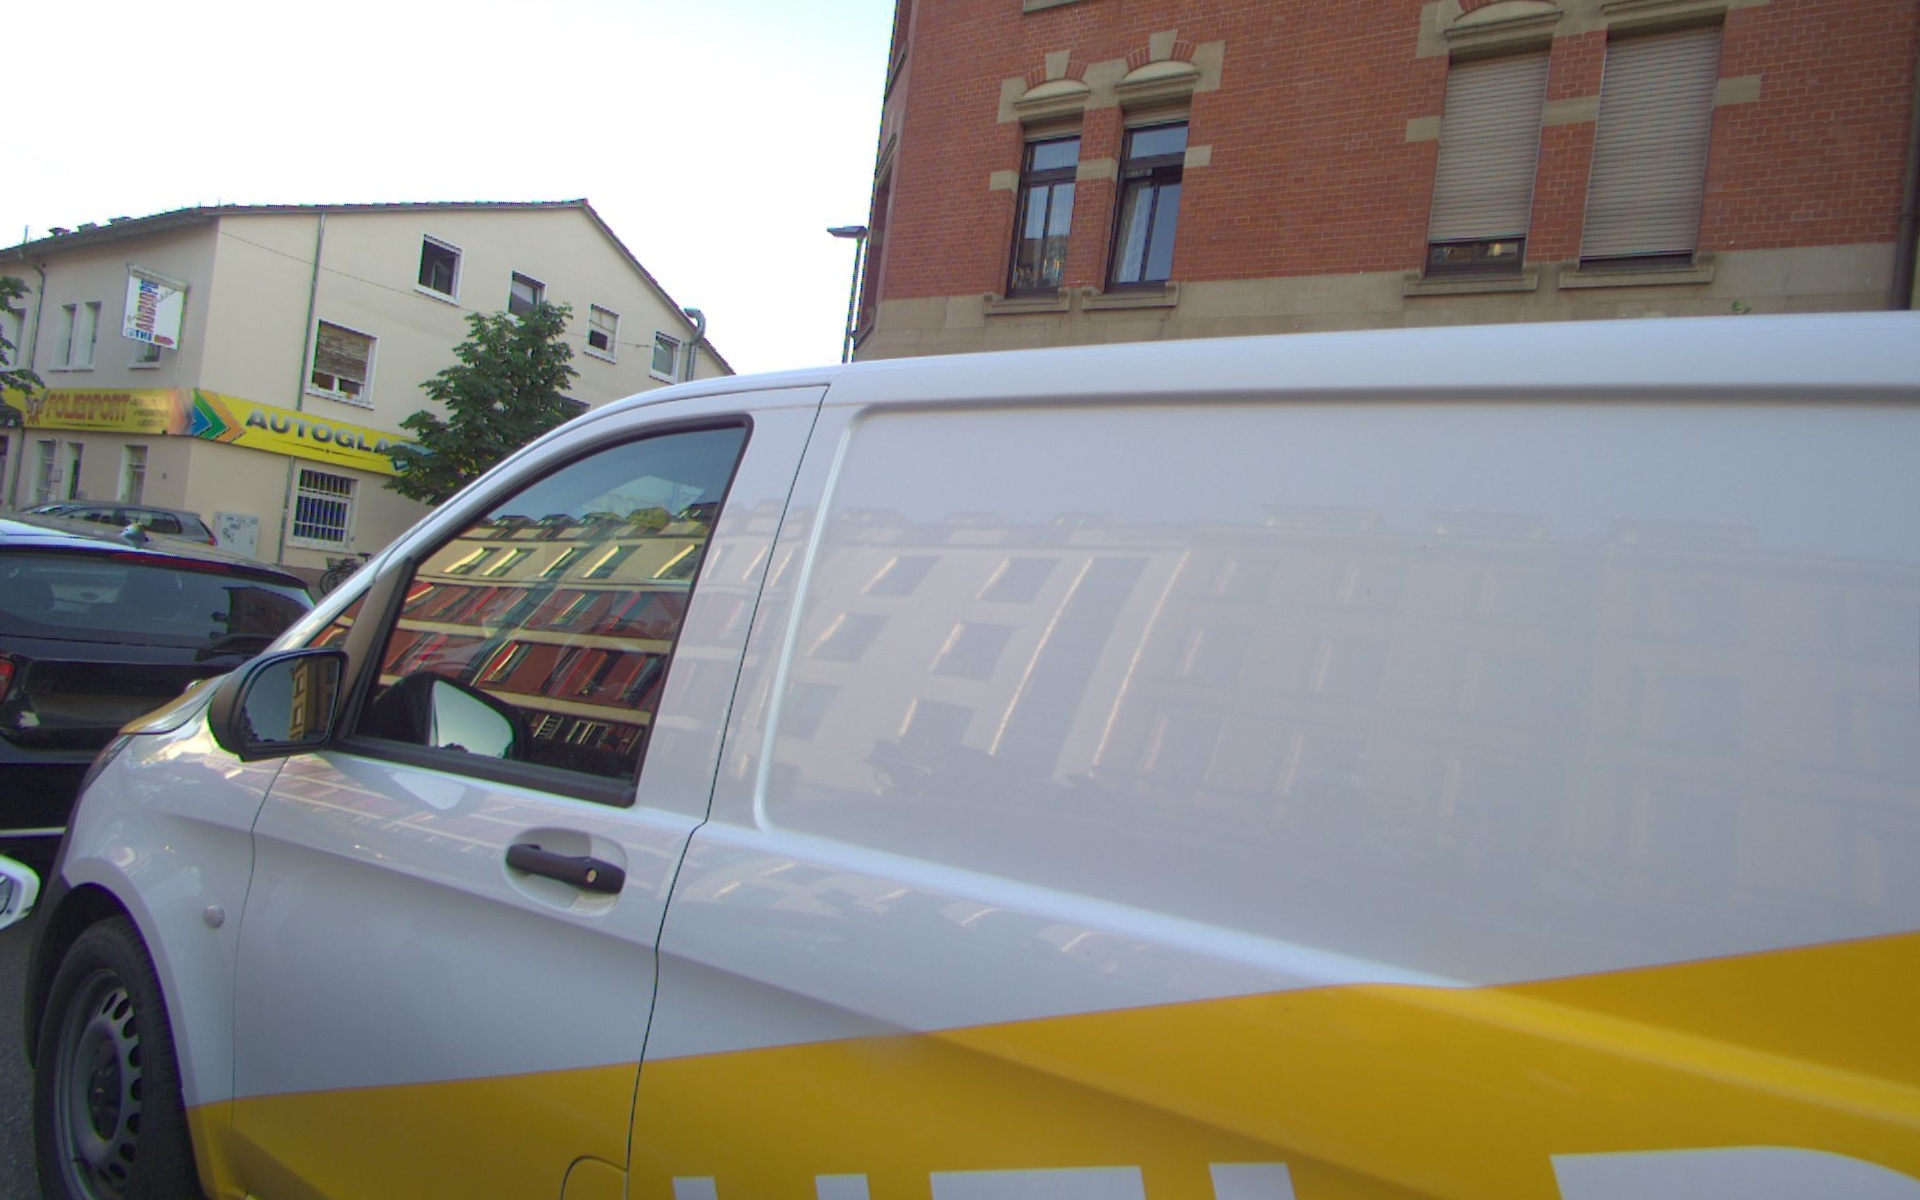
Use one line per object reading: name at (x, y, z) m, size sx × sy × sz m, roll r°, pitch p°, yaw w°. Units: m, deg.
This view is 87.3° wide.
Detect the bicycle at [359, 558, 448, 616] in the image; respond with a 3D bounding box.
bicycle at (-12.162, -0.268, 22.029) m, size 0.338 × 1.053 × 1.605 m, roll 10°, pitch 0°, yaw 32°

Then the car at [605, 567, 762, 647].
car at (-8.216, 0.196, 29.797) m, size 4.260 × 1.924 × 1.876 m, roll 5°, pitch -1°, yaw 30°

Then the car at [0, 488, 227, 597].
car at (-15.990, -1.065, 18.120) m, size 1.727 × 1.533 × 4.054 m, roll 9°, pitch 1°, yaw 32°

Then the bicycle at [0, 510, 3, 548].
bicycle at (-20.226, -1.387, 20.681) m, size 1.456 × 1.030 × 0.388 m, roll 7°, pitch 1°, yaw 31°

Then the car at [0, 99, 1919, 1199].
car at (0.181, 0.602, 1.970) m, size 4.996 × 1.906 × 1.897 m, roll 7°, pitch -1°, yaw 30°

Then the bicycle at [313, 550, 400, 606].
bicycle at (-13.562, -0.473, 22.659) m, size 0.338 × 1.031 × 1.606 m, roll 10°, pitch -1°, yaw 30°

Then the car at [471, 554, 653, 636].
car at (-10.203, -0.132, 25.703) m, size 4.494 × 1.527 × 1.744 m, roll 7°, pitch -1°, yaw 29°

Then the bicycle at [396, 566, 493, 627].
bicycle at (-10.826, -0.048, 21.203) m, size 0.420 × 1.087 × 1.856 m, roll 10°, pitch -1°, yaw 23°

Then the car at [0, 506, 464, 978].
car at (-4.443, 0.303, 4.657) m, size 4.182 × 1.440 × 1.725 m, roll 7°, pitch -2°, yaw 31°

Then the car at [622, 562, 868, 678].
car at (-3.706, 0.450, 18.170) m, size 1.847 × 1.692 × 4.327 m, roll 5°, pitch -2°, yaw 29°

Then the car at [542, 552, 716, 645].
car at (-9.134, -0.056, 27.672) m, size 4.499 × 1.854 × 1.876 m, roll 8°, pitch 0°, yaw 30°

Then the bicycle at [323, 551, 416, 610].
bicycle at (-13.222, -0.420, 22.568) m, size 0.338 × 1.082 × 1.735 m, roll 10°, pitch -1°, yaw 30°

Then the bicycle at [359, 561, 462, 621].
bicycle at (-11.791, -0.178, 21.655) m, size 0.421 × 1.022 × 1.853 m, roll 10°, pitch -1°, yaw 32°

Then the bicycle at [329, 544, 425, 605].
bicycle at (-13.618, -0.572, 23.547) m, size 0.338 × 1.162 × 1.864 m, roll 10°, pitch -1°, yaw 32°

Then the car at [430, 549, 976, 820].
car at (-2.237, 0.547, 8.395) m, size 4.348 × 1.442 × 1.728 m, roll 7°, pitch 1°, yaw 30°

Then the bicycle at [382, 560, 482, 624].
bicycle at (-11.200, -0.150, 21.414) m, size 0.420 × 1.141 × 1.925 m, roll 8°, pitch -1°, yaw 23°
